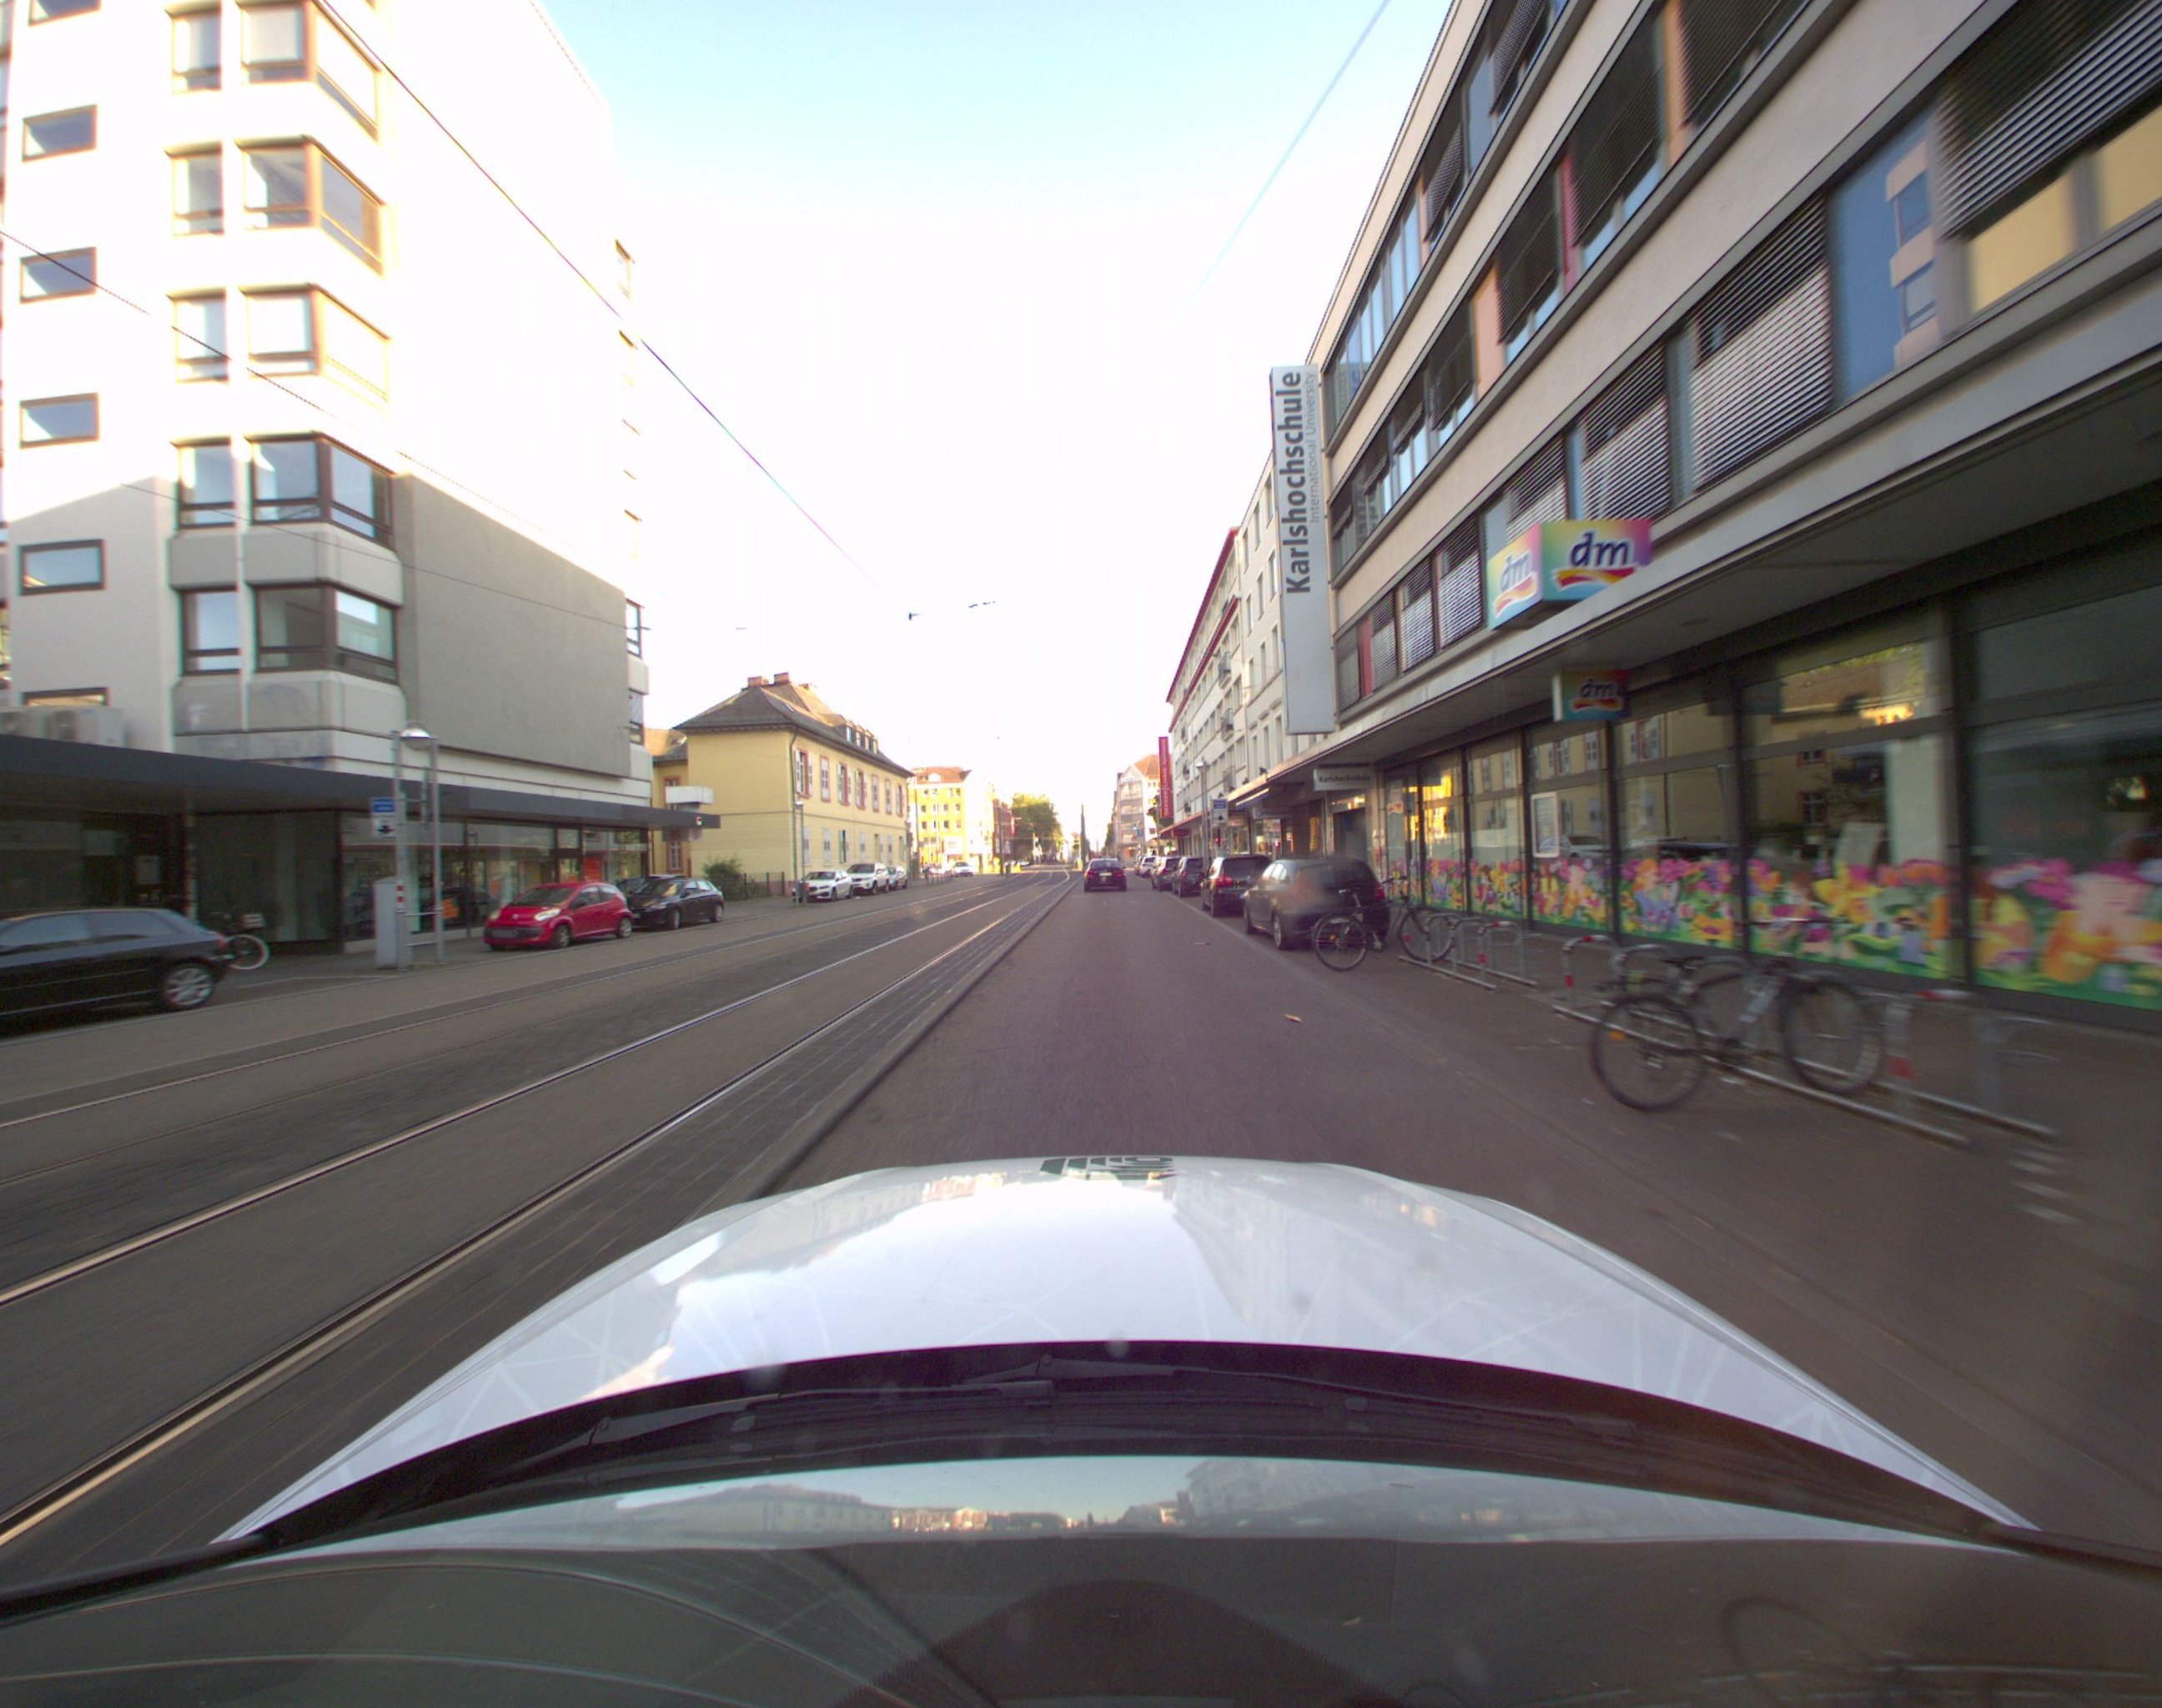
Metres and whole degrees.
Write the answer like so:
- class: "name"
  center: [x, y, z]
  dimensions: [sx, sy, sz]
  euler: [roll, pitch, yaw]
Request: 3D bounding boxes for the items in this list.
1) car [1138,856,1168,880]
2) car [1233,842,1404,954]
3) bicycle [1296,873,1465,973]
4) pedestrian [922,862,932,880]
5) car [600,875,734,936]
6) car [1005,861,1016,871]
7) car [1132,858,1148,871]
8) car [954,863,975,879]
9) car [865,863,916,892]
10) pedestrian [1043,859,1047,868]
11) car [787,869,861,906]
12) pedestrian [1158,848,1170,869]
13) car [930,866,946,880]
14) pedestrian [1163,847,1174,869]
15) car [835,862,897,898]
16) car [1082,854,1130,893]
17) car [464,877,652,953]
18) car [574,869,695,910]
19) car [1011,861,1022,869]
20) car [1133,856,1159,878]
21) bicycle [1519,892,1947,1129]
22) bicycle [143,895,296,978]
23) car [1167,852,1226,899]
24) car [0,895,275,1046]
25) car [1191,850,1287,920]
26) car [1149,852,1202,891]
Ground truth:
- class: "car"
  center: [4.956, 0.955, 56.597]
  dimensions: [1.778, 1.512, 4.053]
  euler: [-4, 0, 2]
- class: "car"
  center: [3.840, 0.652, 13.940]
  dimensions: [1.737, 1.512, 4.260]
  euler: [-4, 0, 2]
- class: "bicycle"
  center: [3.808, 0.855, 10.430]
  dimensions: [1.880, 1.138, 0.676]
  euler: [-3, 0, -2]
- class: "pedestrian"
  center: [-13.914, 1.526, 73.590]
  dimensions: [0.729, 1.584, 0.954]
  euler: [-2, -1, -3]
- class: "car"
  center: [-12.205, 1.452, 24.357]
  dimensions: [1.679, 1.512, 4.217]
  euler: [-2, 0, 2]
- class: "car"
  center: [-14.554, 2.417, 168.488]
  dimensions: [1.988, 1.901, 4.809]
  euler: [-2, 0, -1]
- class: "car"
  center: [7.899, 1.373, 109.114]
  dimensions: [1.986, 1.552, 4.001]
  euler: [-2, 0, 2]
- class: "car"
  center: [-11.648, 1.696, 81.145]
  dimensions: [1.807, 1.512, 4.020]
  euler: [-2, 0, -11]
- class: "car"
  center: [-11.643, 1.391, 50.047]
  dimensions: [1.805, 1.617, 4.218]
  euler: [-3, 0, 3]
- class: "pedestrian"
  center: [-8.613, 2.268, 196.439]
  dimensions: [0.985, 2.014, 0.726]
  euler: [0, -1, 0]
- class: "car"
  center: [-11.961, 1.524, 38.242]
  dimensions: [1.805, 1.512, 4.436]
  euler: [-3, 0, 3]
- class: "pedestrian"
  center: [6.942, 0.397, 67.830]
  dimensions: [0.824, 1.718, 0.843]
  euler: [-4, -1, 2]
- class: "car"
  center: [-17.445, 2.291, 99.229]
  dimensions: [1.734, 1.512, 4.023]
  euler: [-2, 0, -8]
- class: "pedestrian"
  center: [7.203, 0.339, 66.717]
  dimensions: [0.726, 1.741, 0.863]
  euler: [-4, -1, 2]
- class: "car"
  center: [-11.527, 1.347, 44.019]
  dimensions: [1.804, 1.786, 4.503]
  euler: [1, -1, 5]
- class: "car"
  center: [1.110, 0.841, 36.868]
  dimensions: [1.986, 1.585, 4.001]
  euler: [-3, 0, 1]
- class: "car"
  center: [-12.335, 1.373, 19.599]
  dimensions: [1.679, 1.512, 4.217]
  euler: [-1, 0, 2]
- class: "car"
  center: [-18.664, 1.477, 34.150]
  dimensions: [3.970, 1.467, 1.848]
  euler: [-2, 0, 3]
- class: "car"
  center: [-14.182, 2.388, 179.396]
  dimensions: [1.988, 1.585, 4.585]
  euler: [-2, 0, -1]
- class: "car"
  center: [4.892, 0.970, 61.794]
  dimensions: [1.728, 1.512, 4.687]
  euler: [-4, 0, 2]
- class: "bicycle"
  center: [3.667, 0.844, 4.682]
  dimensions: [1.880, 1.077, 0.676]
  euler: [-4, 0, -2]
- class: "bicycle"
  center: [-16.407, 1.555, 15.548]
  dimensions: [1.962, 1.426, 0.834]
  euler: [-3, -1, -1]
- class: "car"
  center: [4.211, 0.764, 30.252]
  dimensions: [1.679, 1.512, 4.037]
  euler: [-4, 0, 2]
- class: "car"
  center: [-12.684, 1.365, 9.707]
  dimensions: [1.680, 1.512, 4.446]
  euler: [-1, 0, 1]
- class: "car"
  center: [3.929, 0.719, 20.929]
  dimensions: [1.714, 1.512, 4.169]
  euler: [-4, 0, 2]
- class: "car"
  center: [4.094, 0.722, 35.967]
  dimensions: [1.784, 1.512, 4.711]
  euler: [-4, 0, 0]
